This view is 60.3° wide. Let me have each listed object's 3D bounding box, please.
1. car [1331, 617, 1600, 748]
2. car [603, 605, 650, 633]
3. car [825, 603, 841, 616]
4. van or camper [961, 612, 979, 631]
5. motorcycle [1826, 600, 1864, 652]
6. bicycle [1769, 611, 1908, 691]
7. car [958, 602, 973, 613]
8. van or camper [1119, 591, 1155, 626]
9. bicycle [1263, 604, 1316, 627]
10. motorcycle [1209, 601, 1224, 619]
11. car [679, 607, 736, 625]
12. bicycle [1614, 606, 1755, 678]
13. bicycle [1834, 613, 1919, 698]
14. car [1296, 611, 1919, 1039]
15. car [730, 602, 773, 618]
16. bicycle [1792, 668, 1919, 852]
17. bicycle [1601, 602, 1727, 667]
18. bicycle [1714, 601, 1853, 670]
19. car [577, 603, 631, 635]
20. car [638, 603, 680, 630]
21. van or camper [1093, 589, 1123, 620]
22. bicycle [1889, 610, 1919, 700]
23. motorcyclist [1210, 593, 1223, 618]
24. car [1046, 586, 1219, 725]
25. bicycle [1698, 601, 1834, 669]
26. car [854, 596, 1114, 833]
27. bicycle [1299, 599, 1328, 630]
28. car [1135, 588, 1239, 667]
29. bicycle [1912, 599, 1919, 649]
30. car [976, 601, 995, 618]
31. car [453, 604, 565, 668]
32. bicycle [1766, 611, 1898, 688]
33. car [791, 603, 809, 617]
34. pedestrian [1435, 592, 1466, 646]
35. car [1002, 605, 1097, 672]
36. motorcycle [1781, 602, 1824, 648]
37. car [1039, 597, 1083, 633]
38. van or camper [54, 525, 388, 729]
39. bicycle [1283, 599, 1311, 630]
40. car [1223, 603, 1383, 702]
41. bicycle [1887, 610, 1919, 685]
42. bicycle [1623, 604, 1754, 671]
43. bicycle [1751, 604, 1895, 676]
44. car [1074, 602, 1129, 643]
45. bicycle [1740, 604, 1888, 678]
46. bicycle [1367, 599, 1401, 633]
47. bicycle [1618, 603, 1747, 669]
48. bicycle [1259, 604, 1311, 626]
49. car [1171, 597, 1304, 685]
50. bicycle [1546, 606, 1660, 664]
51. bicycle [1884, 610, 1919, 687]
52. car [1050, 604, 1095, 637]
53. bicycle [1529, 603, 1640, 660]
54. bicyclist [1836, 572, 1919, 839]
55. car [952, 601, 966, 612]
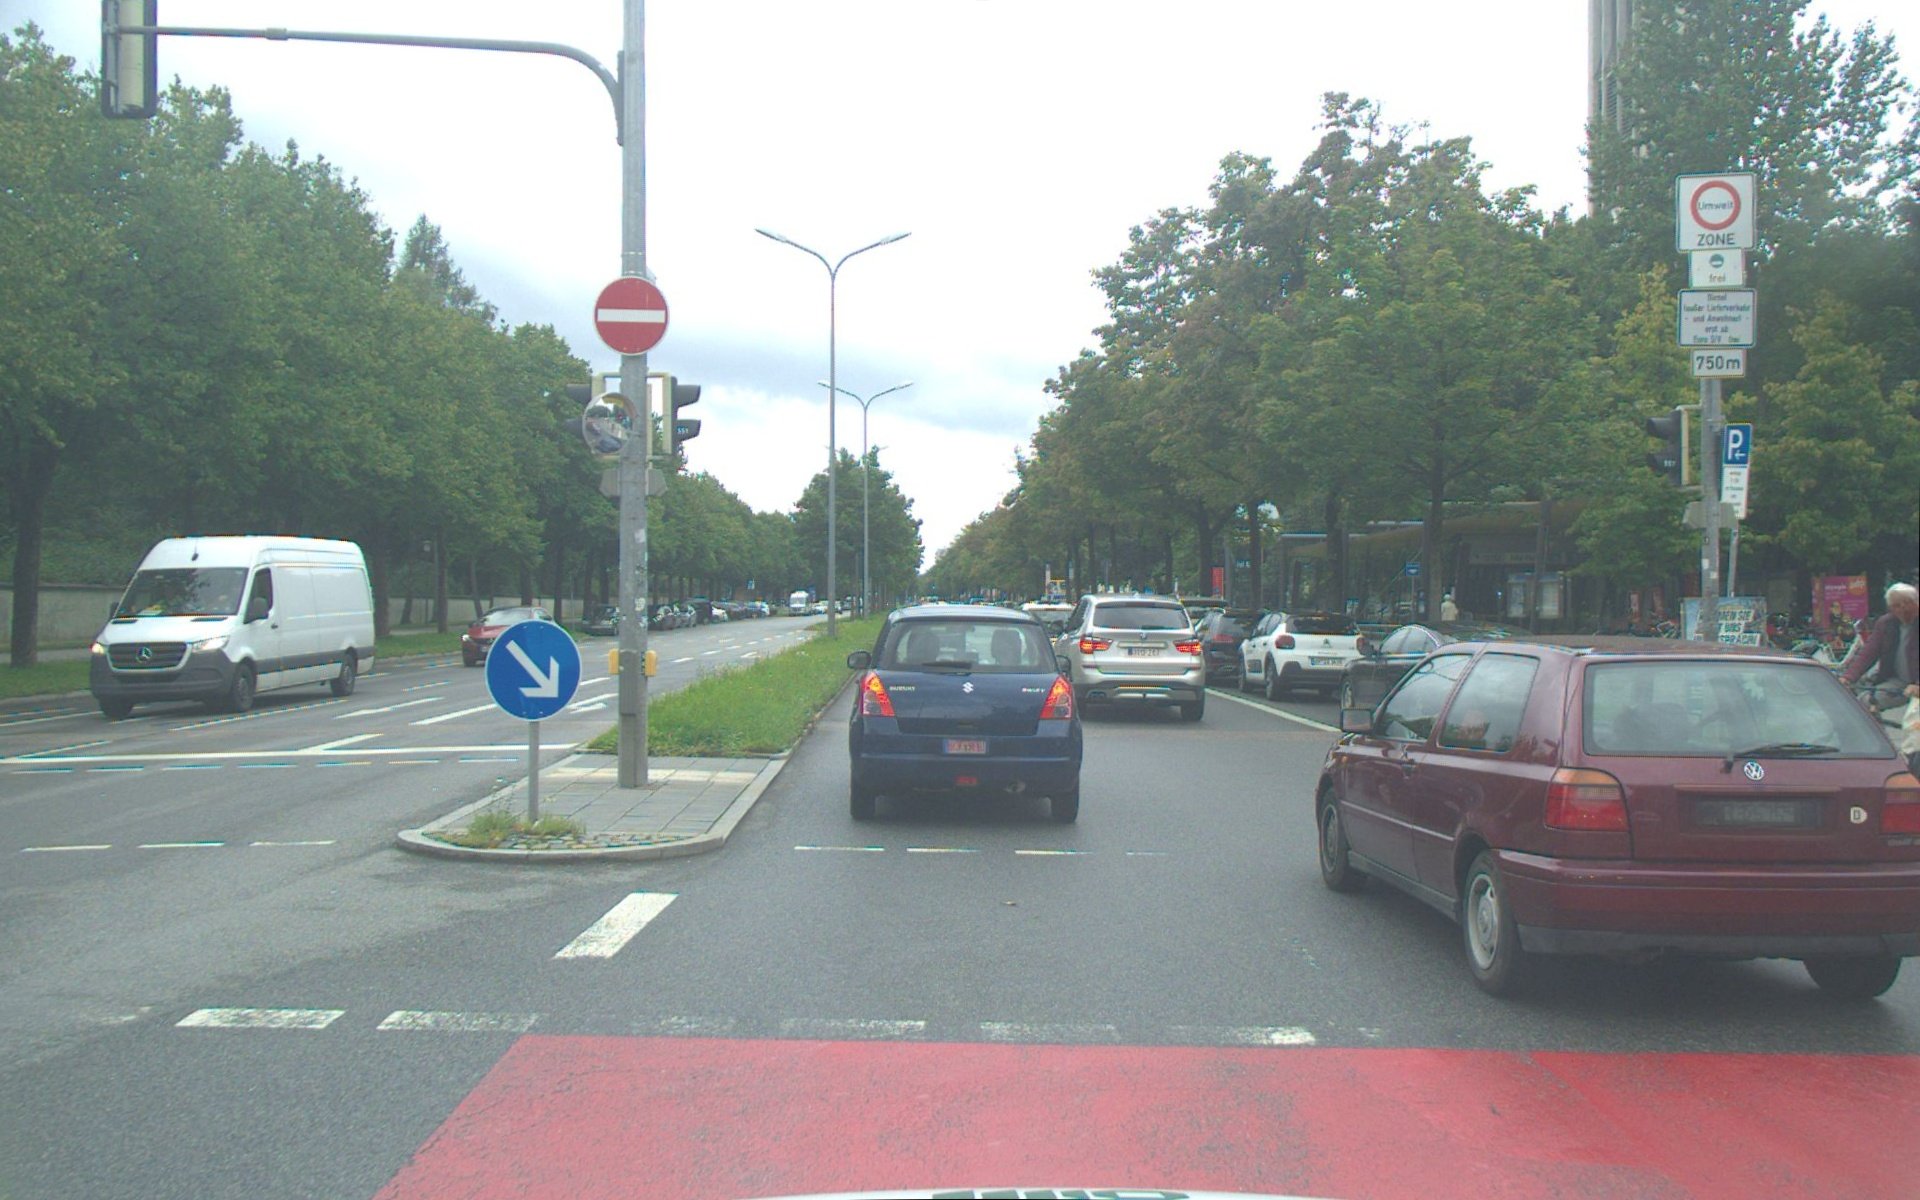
[{"bbox_3d":[6.057,0.930,20.398,1.676,1.384,4.618,1,0,-3],"label":"car"},{"bbox_3d":[-18.024,1.028,89.549,1.625,1.420,4.705,1,0,-1],"label":"car"},{"bbox_3d":[-15.468,1.187,201.600,1.875,1.569,4.185,0,0,-3],"label":"car"},{"bbox_3d":[1.134,2.389,185.764,1.905,2.009,4.305,0,0,-1],"label":"van or camper"},{"bbox_3d":[20.973,0.591,39.236,0.643,1.198,1.813,0,0,24],"label":"motorcycle"},{"bbox_3d":[13.497,0.787,25.445,1.768,1.162,0.568,-2,0,7],"label":"bicycle"},{"bbox_3d":[0.800,0.987,223.803,1.813,1.472,4.095,0,0,-3],"label":"car"},{"bbox_3d":[13.376,0.613,125.396,1.953,2.602,5.955,0,0,-1],"label":"van or camper"},{"bbox_3d":[16.469,0.765,82.655,2.491,1.108,0.647,0,0,-2],"label":"bicycle"},{"bbox_3d":[18.748,0.730,120.914,0.682,1.313,2.066,-4,0,-1],"label":"motorcycle"},{"bbox_3d":[-19.377,1.211,126.755,3.956,1.378,1.827,0,0,-36],"label":"car"},{"bbox_3d":[13.191,0.758,30.139,2.291,1.177,0.585,-2,0,-2],"label":"bicycle"},{"bbox_3d":[13.660,0.789,23.982,1.775,1.162,0.565,-2,0,-13],"label":"bicycle"},{"bbox_3d":[2.844,0.803,7.818,1.589,1.479,3.948,0,0,-2],"label":"car"},{"bbox_3d":[-21.635,1.003,171.501,4.060,1.612,1.896,0,0,-35],"label":"car"},{"bbox_3d":[6.585,1.058,11.431,1.927,1.100,0.738,0,0,-38],"label":"bicycle"},{"bbox_3d":[14.096,0.684,33.146,2.291,1.177,0.529,-2,0,-2],"label":"bicycle"},{"bbox_3d":[15.371,0.661,30.898,2.291,1.177,0.585,-2,0,-2],"label":"bicycle"},{"bbox_3d":[-17.942,0.956,83.487,1.763,1.516,4.913,1,0,-1],"label":"car"},{"bbox_3d":[-17.835,0.989,98.123,1.538,1.529,4.304,1,0,2],"label":"car"},{"bbox_3d":[12.711,0.368,142.226,1.983,2.602,5.955,0,0,-1],"label":"van or camper"},{"bbox_3d":[14.189,0.746,23.421,1.906,1.233,0.565,-2,0,-13],"label":"bicycle"},{"bbox_3d":[18.716,0.419,120.690,0.677,1.767,0.953,-4,0,-2],"label":"motorcyclist"},{"bbox_3d":[2.312,0.710,23.200,1.813,1.773,4.095,0,0,-3],"label":"car"},{"bbox_3d":[15.350,0.660,31.507,2.291,1.177,0.585,-2,0,-2],"label":"bicycle"},{"bbox_3d":[0.063,0.771,13.138,1.753,1.583,3.998,0,0,-3],"label":"car"},{"bbox_3d":[15.166,0.622,71.013,0.632,1.303,2.550,0,0,-1],"label":"bicycle"},{"bbox_3d":[5.370,0.605,39.653,1.712,1.754,4.905,1,0,-1],"label":"car"},{"bbox_3d":[23.128,0.579,38.546,0.516,1.177,2.346,-2,0,1],"label":"bicycle"},{"bbox_3d":[2.443,0.877,157.901,1.650,1.552,4.455,1,0,-1],"label":"car"},{"bbox_3d":[-11.746,0.904,43.343,1.708,1.477,4.656,-2,0,-2],"label":"car"},{"bbox_3d":[13.942,0.788,26.479,1.768,1.162,0.567,-2,0,4],"label":"bicycle"},{"bbox_3d":[-18.285,1.163,189.289,1.875,1.569,4.185,0,0,-3],"label":"car"},{"bbox_3d":[14.107,0.546,47.547,0.570,1.539,0.690,0,0,-20],"label":"pedestrian"},{"bbox_3d":[2.042,0.857,38.853,1.813,1.472,4.095,0,0,-3],"label":"car"},{"bbox_3d":[20.271,0.591,39.794,0.645,1.080,1.806,0,0,36],"label":"motorcycle"},{"bbox_3d":[4.982,0.727,81.851,1.751,1.704,4.593,0,0,-2],"label":"car"},{"bbox_3d":[-11.252,0.358,25.968,2.134,2.693,6.949,-2,0,-1],"label":"van or camper"},{"bbox_3d":[14.461,0.624,71.019,0.632,1.303,2.550,0,0,-1],"label":"bicycle"},{"bbox_3d":[5.813,0.834,28.532,1.678,1.574,4.379,0,0,-3],"label":"car"},{"bbox_3d":[15.874,0.728,26.438,1.769,1.162,0.567,-2,0,-1],"label":"bicycle"},{"bbox_3d":[14.101,0.715,32.045,2.291,1.177,0.529,-2,0,-2],"label":"bicycle"},{"bbox_3d":[15.555,0.711,29.828,2.291,1.177,0.585,-2,0,-2],"label":"bicycle"},{"bbox_3d":[5.431,0.836,63.949,1.683,1.535,4.222,0,0,-1],"label":"car"},{"bbox_3d":[15.044,0.718,29.162,2.291,1.177,0.585,-2,0,-2],"label":"bicycle"},{"bbox_3d":[16.839,0.618,65.749,0.632,1.303,2.550,0,0,-1],"label":"bicycle"},{"bbox_3d":[14.226,0.705,32.600,2.291,1.177,0.529,-2,0,-2],"label":"bicycle"},{"bbox_3d":[16.439,0.764,83.724,2.491,1.108,0.647,0,0,-2],"label":"bicycle"},{"bbox_3d":[5.486,0.767,33.253,1.712,1.574,4.640,-1,0,-2],"label":"car"},{"bbox_3d":[14.211,0.772,36.559,2.291,1.177,0.529,-2,0,-2],"label":"bicycle"},{"bbox_3d":[15.464,0.727,25.797,1.769,1.162,0.567,-2,0,-1],"label":"bicycle"},{"bbox_3d":[5.148,0.912,76.193,1.600,1.464,4.303,0,0,-2],"label":"car"},{"bbox_3d":[14.190,0.707,37.581,2.291,1.177,0.529,-2,0,-2],"label":"bicycle"},{"bbox_3d":[6.651,0.707,11.484,0.819,1.795,0.737,0,-1,-37],"label":"bicyclist"},{"bbox_3d":[-0.095,0.953,237.627,1.813,1.472,4.095,0,0,-3],"label":"car"}]
